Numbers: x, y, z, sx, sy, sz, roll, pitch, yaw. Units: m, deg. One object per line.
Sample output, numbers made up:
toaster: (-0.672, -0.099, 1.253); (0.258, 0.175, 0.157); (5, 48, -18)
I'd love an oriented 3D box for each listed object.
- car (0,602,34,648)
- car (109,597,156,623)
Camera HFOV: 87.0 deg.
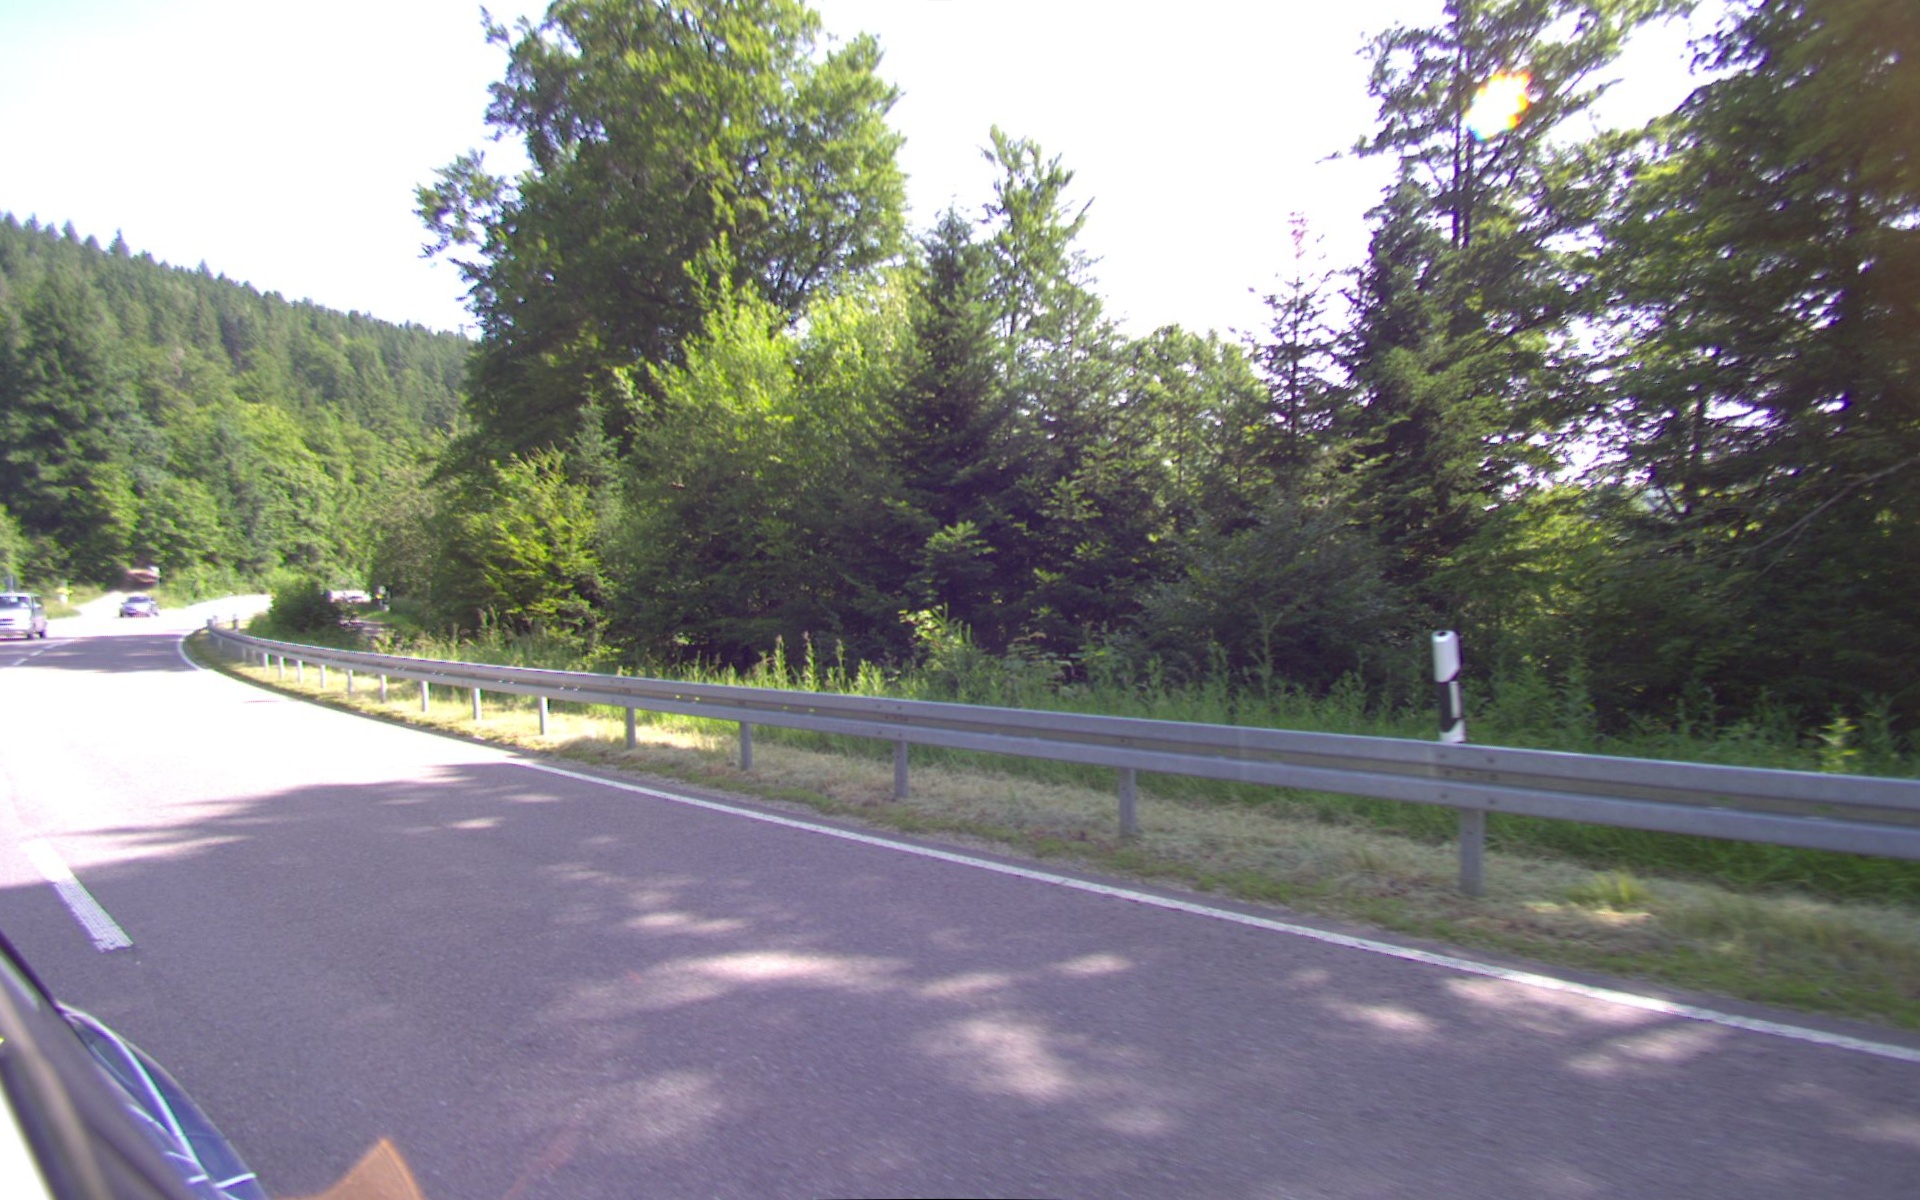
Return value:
car: (-38.496, 0.983, 40.690); (1.628, 1.773, 3.801); (0, 0, -39)
car: (-56.932, 0.668, 69.675); (1.966, 1.655, 4.012); (-1, 1, -32)
